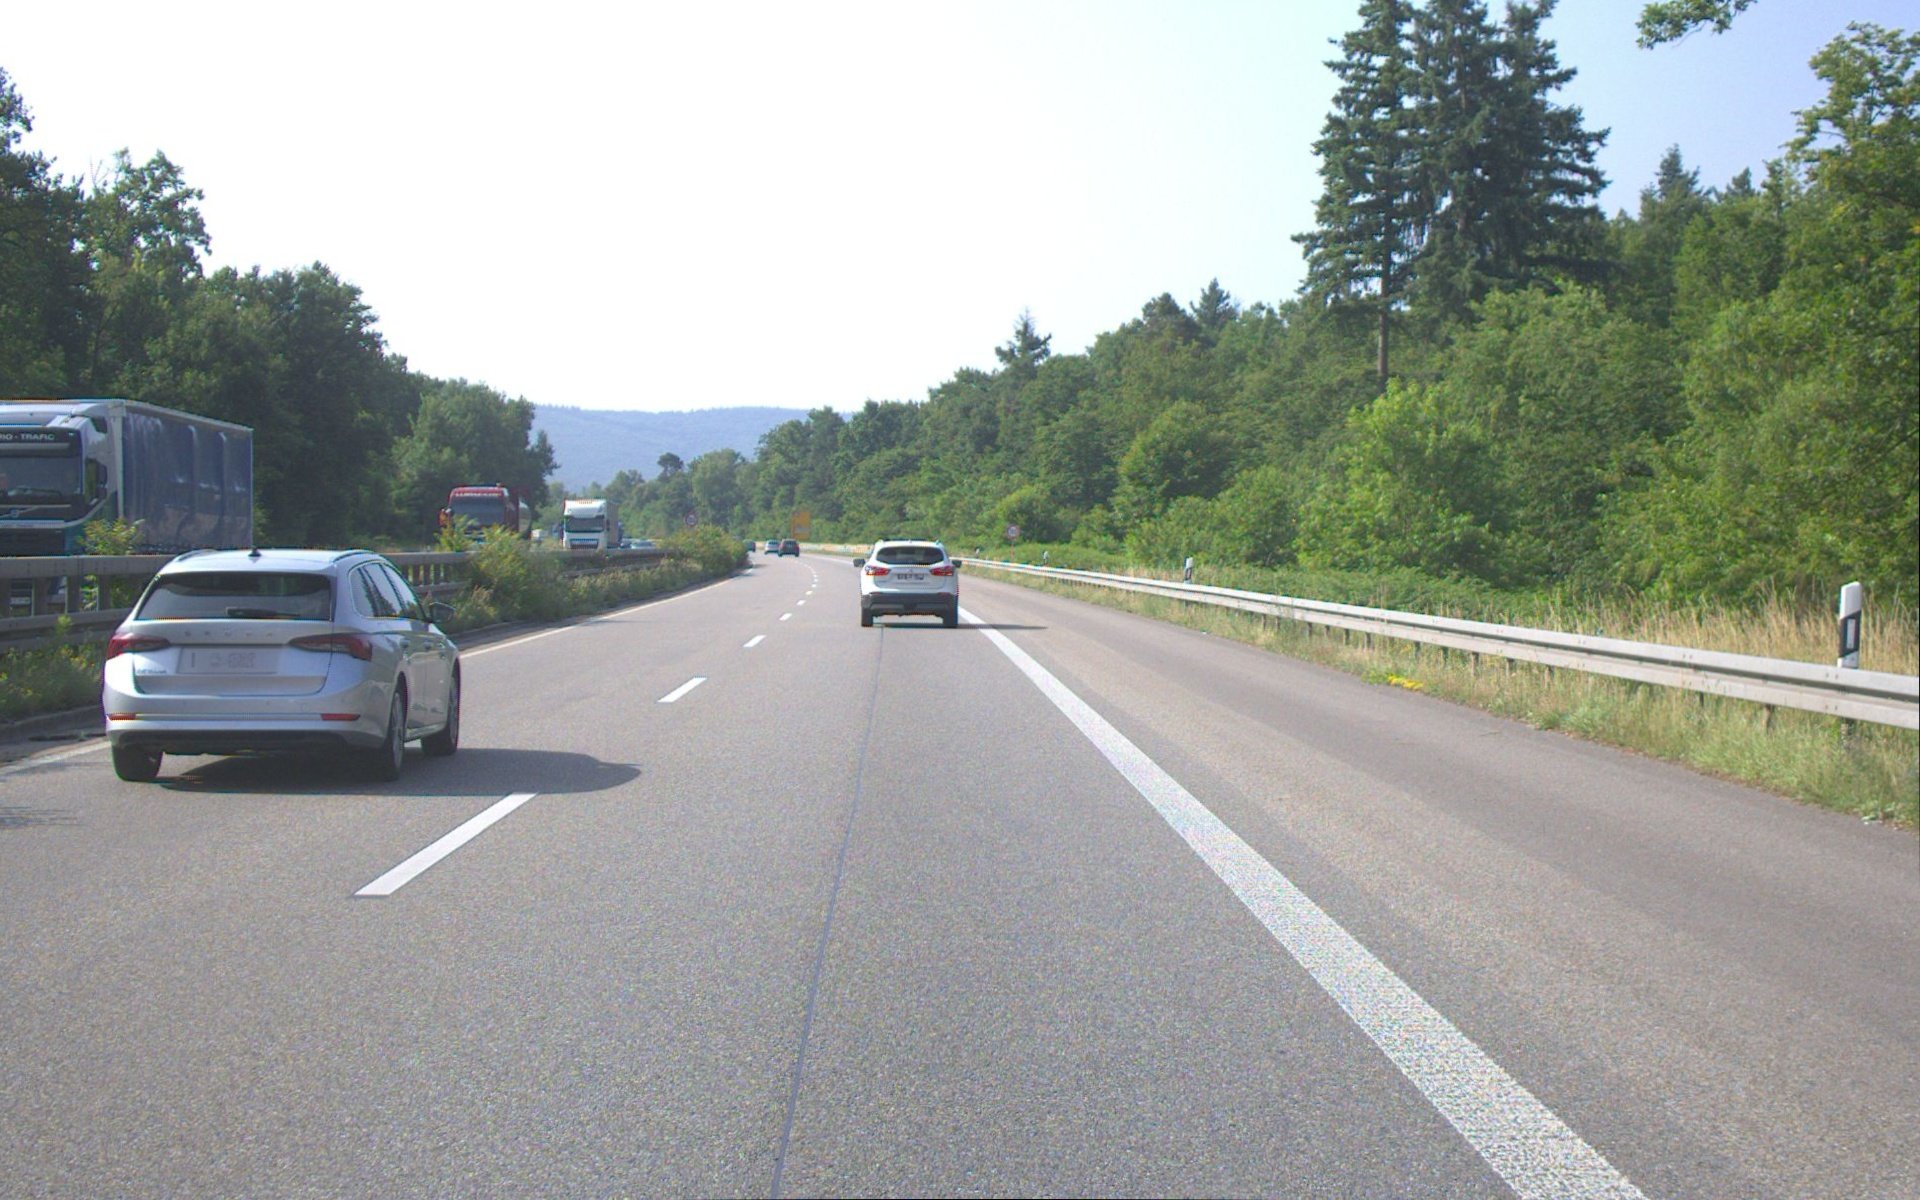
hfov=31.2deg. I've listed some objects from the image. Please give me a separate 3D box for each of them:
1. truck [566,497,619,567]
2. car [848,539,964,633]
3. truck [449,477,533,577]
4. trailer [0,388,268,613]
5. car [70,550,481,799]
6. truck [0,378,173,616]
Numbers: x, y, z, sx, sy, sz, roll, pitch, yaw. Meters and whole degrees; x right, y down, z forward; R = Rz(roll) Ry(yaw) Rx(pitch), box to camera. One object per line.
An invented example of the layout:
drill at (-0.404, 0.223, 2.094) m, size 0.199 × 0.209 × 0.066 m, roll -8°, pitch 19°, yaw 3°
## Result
truck at (-22.319, -4.135, 208.860) m, size 2.837 × 4.181 × 5.547 m, roll 0°, pitch 1°, yaw -3°
car at (-1.043, -0.282, 63.922) m, size 1.873 × 1.581 × 4.001 m, roll 3°, pitch 1°, yaw -4°
truck at (-19.447, -3.019, 142.853) m, size 3.266 × 4.025 × 6.234 m, roll 1°, pitch 1°, yaw -7°
trailer at (-16.772, -1.965, 70.774) m, size 2.691 × 4.186 × 13.081 m, roll 0°, pitch 1°, yaw -1°
car at (-4.399, 0.401, 22.892) m, size 1.792 × 1.433 × 5.279 m, roll 0°, pitch 1°, yaw -1°
truck at (-16.612, -1.857, 63.710) m, size 2.709 × 4.186 × 6.294 m, roll 0°, pitch 1°, yaw -1°
